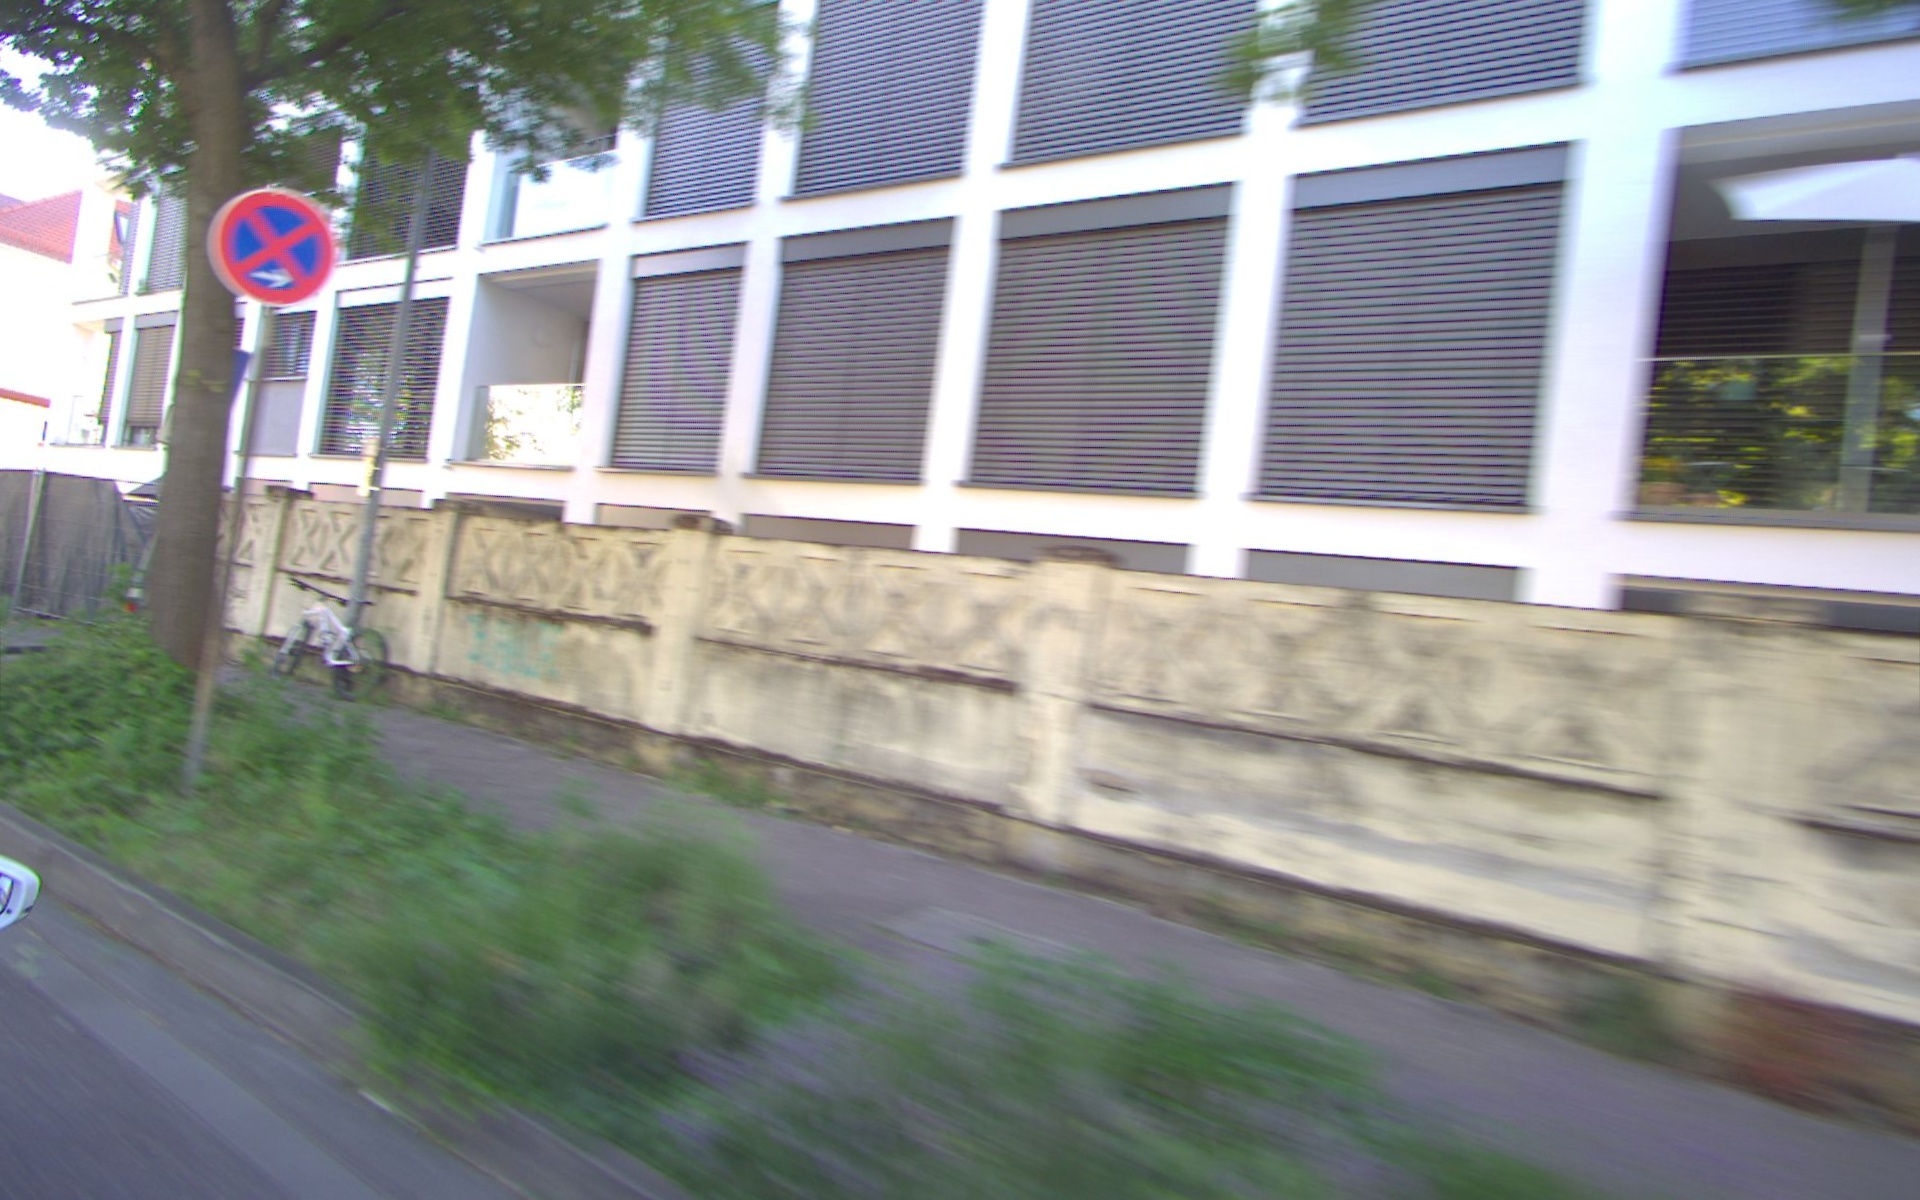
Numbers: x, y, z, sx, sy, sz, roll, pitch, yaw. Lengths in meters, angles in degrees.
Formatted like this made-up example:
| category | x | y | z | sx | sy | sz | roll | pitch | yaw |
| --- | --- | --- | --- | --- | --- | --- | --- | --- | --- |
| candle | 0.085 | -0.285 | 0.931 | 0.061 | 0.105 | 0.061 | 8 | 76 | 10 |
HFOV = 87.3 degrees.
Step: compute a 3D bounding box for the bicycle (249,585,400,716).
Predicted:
| category | x | y | z | sx | sy | sz | roll | pitch | yaw |
| --- | --- | --- | --- | --- | --- | --- | --- | --- | --- |
| bicycle | -6.233 | 0.469 | 9.830 | 1.800 | 1.052 | 0.337 | 6 | -3 | 31 |
